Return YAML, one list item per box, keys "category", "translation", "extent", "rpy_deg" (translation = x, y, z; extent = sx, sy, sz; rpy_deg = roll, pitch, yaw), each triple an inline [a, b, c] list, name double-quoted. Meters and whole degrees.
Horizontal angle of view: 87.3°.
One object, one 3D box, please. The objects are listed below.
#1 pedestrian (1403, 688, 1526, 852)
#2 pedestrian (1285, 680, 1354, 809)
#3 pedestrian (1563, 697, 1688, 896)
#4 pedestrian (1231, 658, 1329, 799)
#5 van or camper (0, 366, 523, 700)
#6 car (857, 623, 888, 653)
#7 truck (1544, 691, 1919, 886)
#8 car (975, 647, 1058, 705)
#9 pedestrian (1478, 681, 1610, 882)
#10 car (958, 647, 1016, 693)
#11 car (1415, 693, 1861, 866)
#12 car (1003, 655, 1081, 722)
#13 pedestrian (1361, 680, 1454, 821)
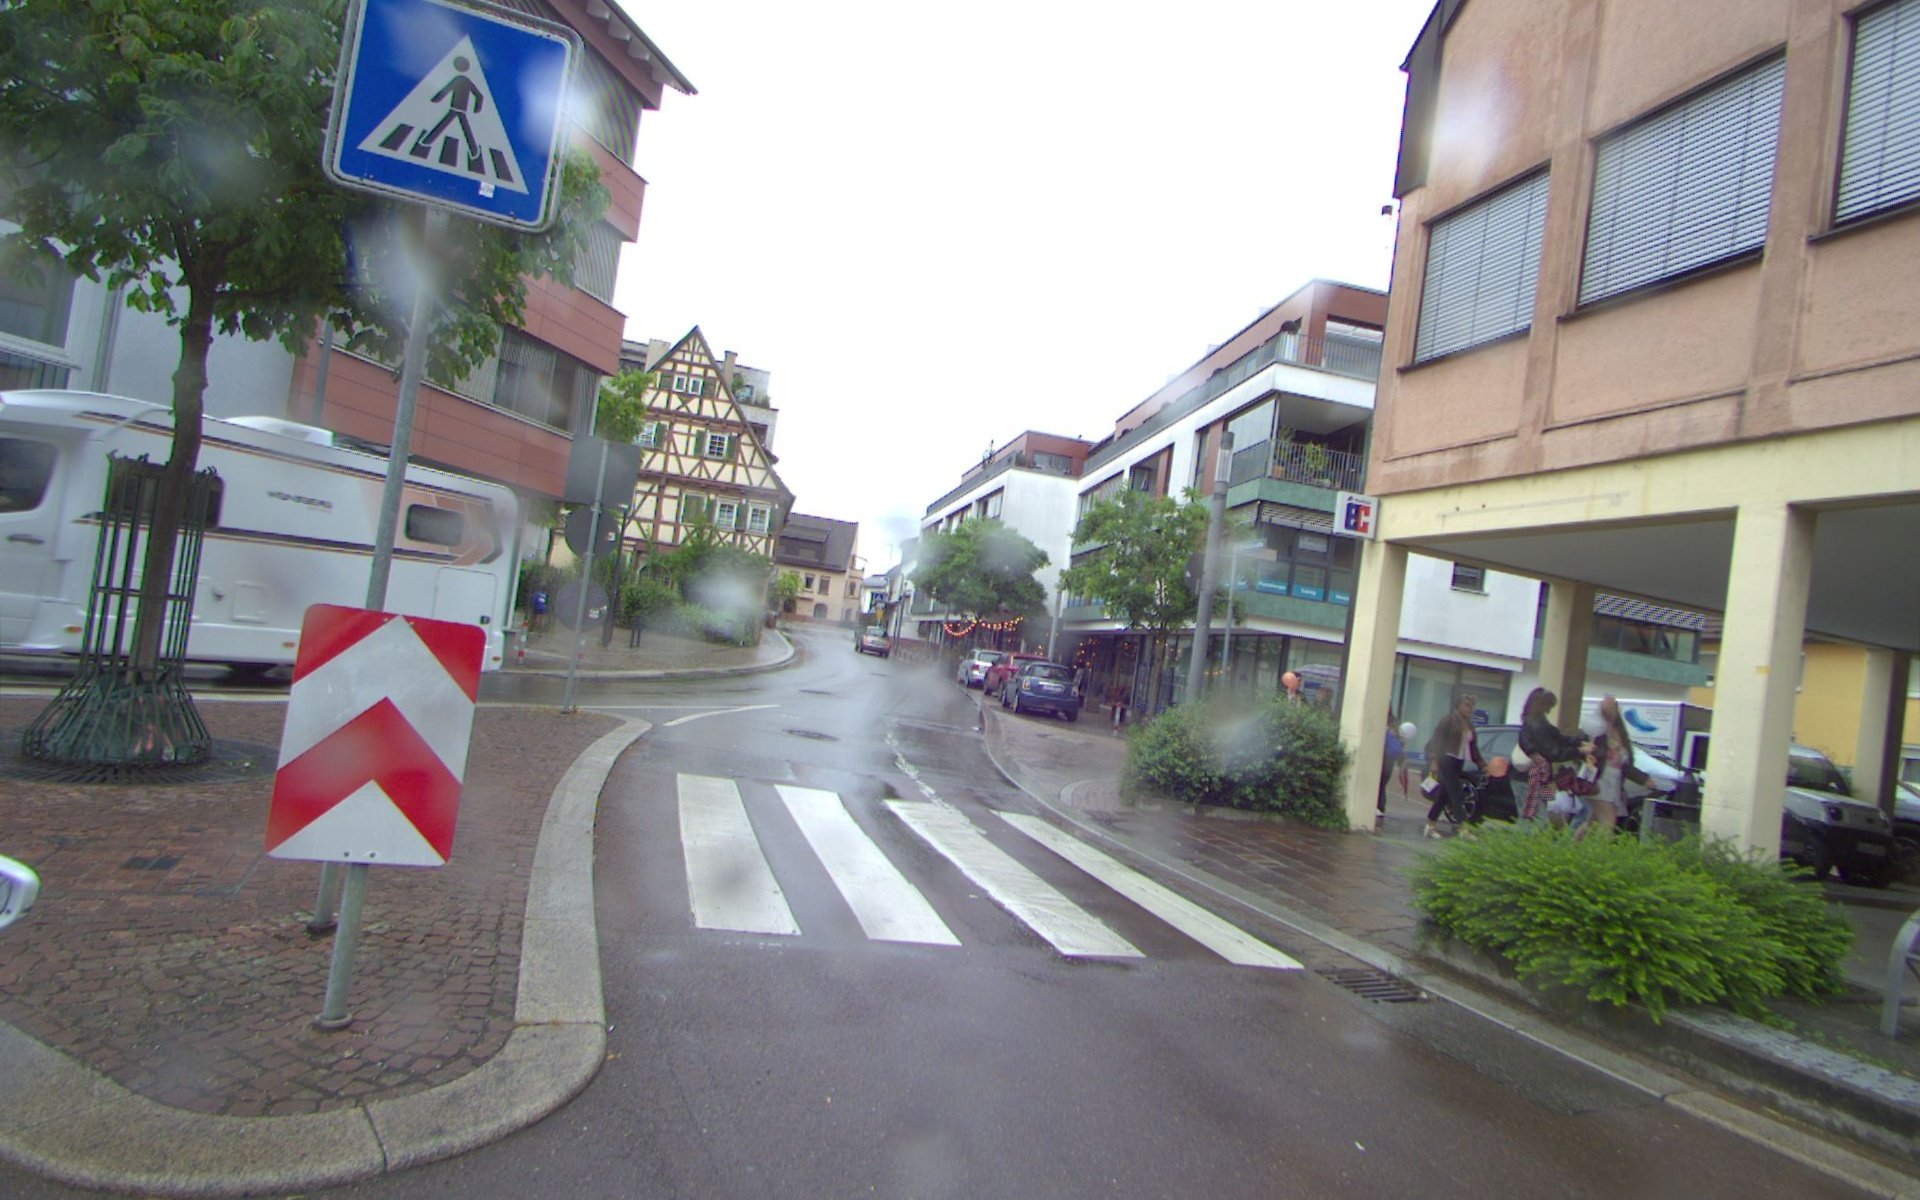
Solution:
- category: "pedestrian"
  translation: [5.495, 1.829, 10.998]
  extent: [0.732, 1.623, 0.824]
  rpy_deg: [6, -1, -12]
- category: "pedestrian"
  translation: [5.002, 2.006, 14.028]
  extent: [0.533, 1.682, 0.520]
  rpy_deg: [8, -2, -13]
- category: "pedestrian"
  translation: [6.340, 1.846, 9.585]
  extent: [0.724, 1.708, 0.721]
  rpy_deg: [6, -2, 45]
- category: "pedestrian"
  translation: [4.371, 1.736, 13.805]
  extent: [0.725, 1.768, 0.890]
  rpy_deg: [8, -2, -16]
- category: "van or camper"
  translation: [-8.368, -0.561, 10.396]
  extent: [2.404, 2.613, 6.750]
  rpy_deg: [7, -3, 29]
- category: "car"
  translation: [-4.920, 2.122, 56.568]
  extent: [1.500, 1.487, 3.340]
  rpy_deg: [8, -2, -6]
- category: "truck"
  translation: [10.337, 2.399, 13.606]
  extent: [1.742, 1.828, 3.990]
  rpy_deg: [8, -3, -15]
- category: "car"
  translation: [1.755, 2.407, 32.624]
  extent: [1.602, 1.518, 3.994]
  rpy_deg: [6, -2, -11]
- category: "pedestrian"
  translation: [5.476, 1.669, 9.434]
  extent: [0.809, 1.680, 0.696]
  rpy_deg: [6, -2, 41]
- category: "car"
  translation: [0.967, 2.606, 38.141]
  extent: [1.592, 1.430, 3.998]
  rpy_deg: [5, -2, -6]
- category: "car"
  translation: [8.037, 2.074, 12.540]
  extent: [1.742, 1.290, 4.460]
  rpy_deg: [8, -3, -15]
- category: "car"
  translation: [2.183, 2.375, 27.533]
  extent: [1.514, 1.378, 3.371]
  rpy_deg: [7, 0, -4]
- category: "pedestrian"
  translation: [5.908, 1.966, 13.305]
  extent: [0.626, 1.708, 0.741]
  rpy_deg: [8, -2, -15]
